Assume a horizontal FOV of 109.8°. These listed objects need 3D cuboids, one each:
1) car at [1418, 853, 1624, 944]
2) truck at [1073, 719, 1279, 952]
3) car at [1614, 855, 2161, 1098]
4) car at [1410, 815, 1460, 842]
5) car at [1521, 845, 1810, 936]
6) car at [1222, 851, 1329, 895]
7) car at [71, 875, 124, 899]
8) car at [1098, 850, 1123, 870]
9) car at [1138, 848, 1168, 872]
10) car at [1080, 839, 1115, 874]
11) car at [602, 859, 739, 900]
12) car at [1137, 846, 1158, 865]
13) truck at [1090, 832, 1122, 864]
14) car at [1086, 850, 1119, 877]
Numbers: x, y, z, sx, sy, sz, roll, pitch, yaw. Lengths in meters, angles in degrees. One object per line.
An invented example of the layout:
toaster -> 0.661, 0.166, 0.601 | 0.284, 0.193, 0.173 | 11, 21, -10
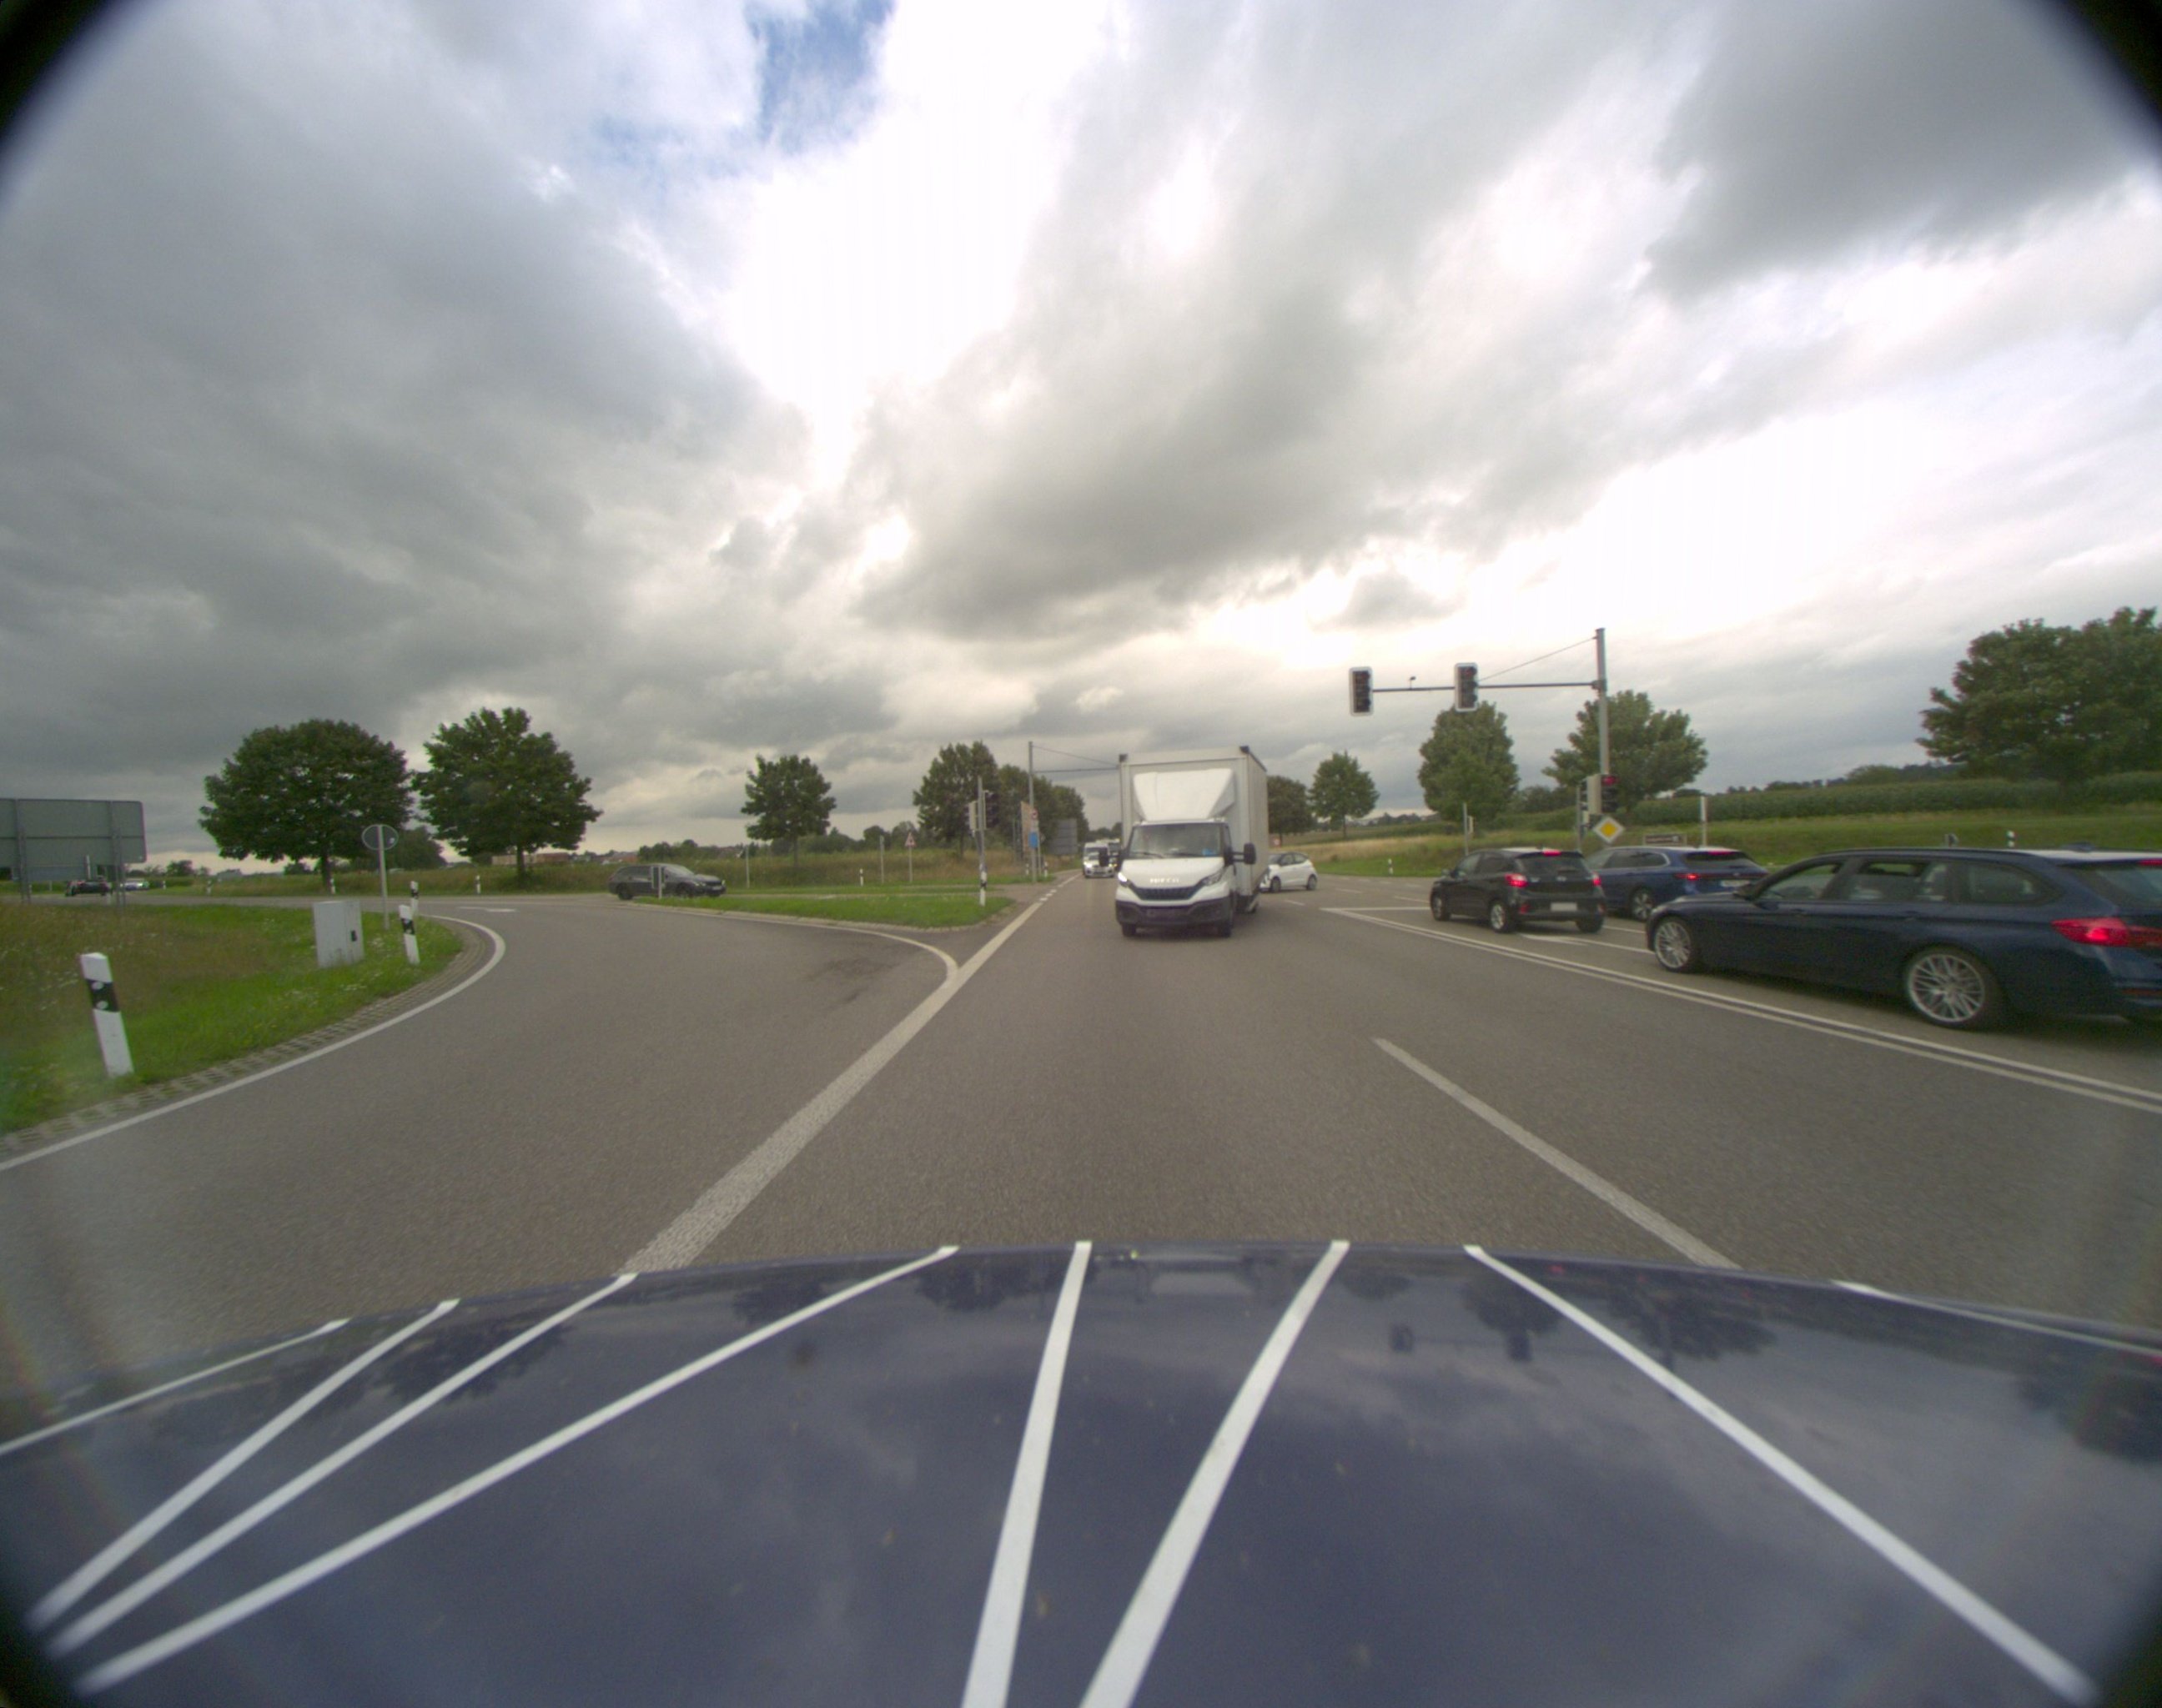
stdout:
car -> 8.047, 0.728, 14.357 | 1.730, 1.435, 3.944 | -1, 0, 2
truck -> 2.619, -0.336, 16.841 | 2.833, 3.742, 8.811 | -1, 1, 18
car -> 7.758, 0.777, 7.190 | 2.053, 1.475, 4.881 | -1, 0, 1
car -> 29.650, -2.117, 63.787 | 1.999, 2.002, 3.998 | -4, 0, -5
car -> 11.698, 0.630, 15.824 | 2.050, 1.526, 5.126 | -2, 0, 0
car -> 7.328, 0.670, 28.460 | 4.007, 1.444, 1.806 | -2, 1, -40
car -> -70.685, 2.388, 54.607 | 4.262, 1.442, 1.816 | -3, 0, 31
car -> 2.584, 0.510, 66.823 | 1.998, 1.619, 4.275 | -3, 0, 2
car -> 5.416, 0.424, 57.761 | 1.998, 1.620, 4.323 | -3, 0, 2
car -> 1.361, 0.176, 58.152 | 2.396, 2.427, 5.513 | -3, 0, 3
car -> -16.530, 1.026, 30.687 | 4.659, 1.494, 2.002 | -2, 0, 12
car -> 7.477, 0.178, 85.447 | 2.168, 2.002, 4.681 | -2, 0, 3
truck -> 2.639, -0.608, 78.834 | 3.106, 3.091, 7.407 | -2, 0, 2
car -> 1.393, 0.570, 49.830 | 1.998, 1.619, 4.275 | -3, 0, 2
